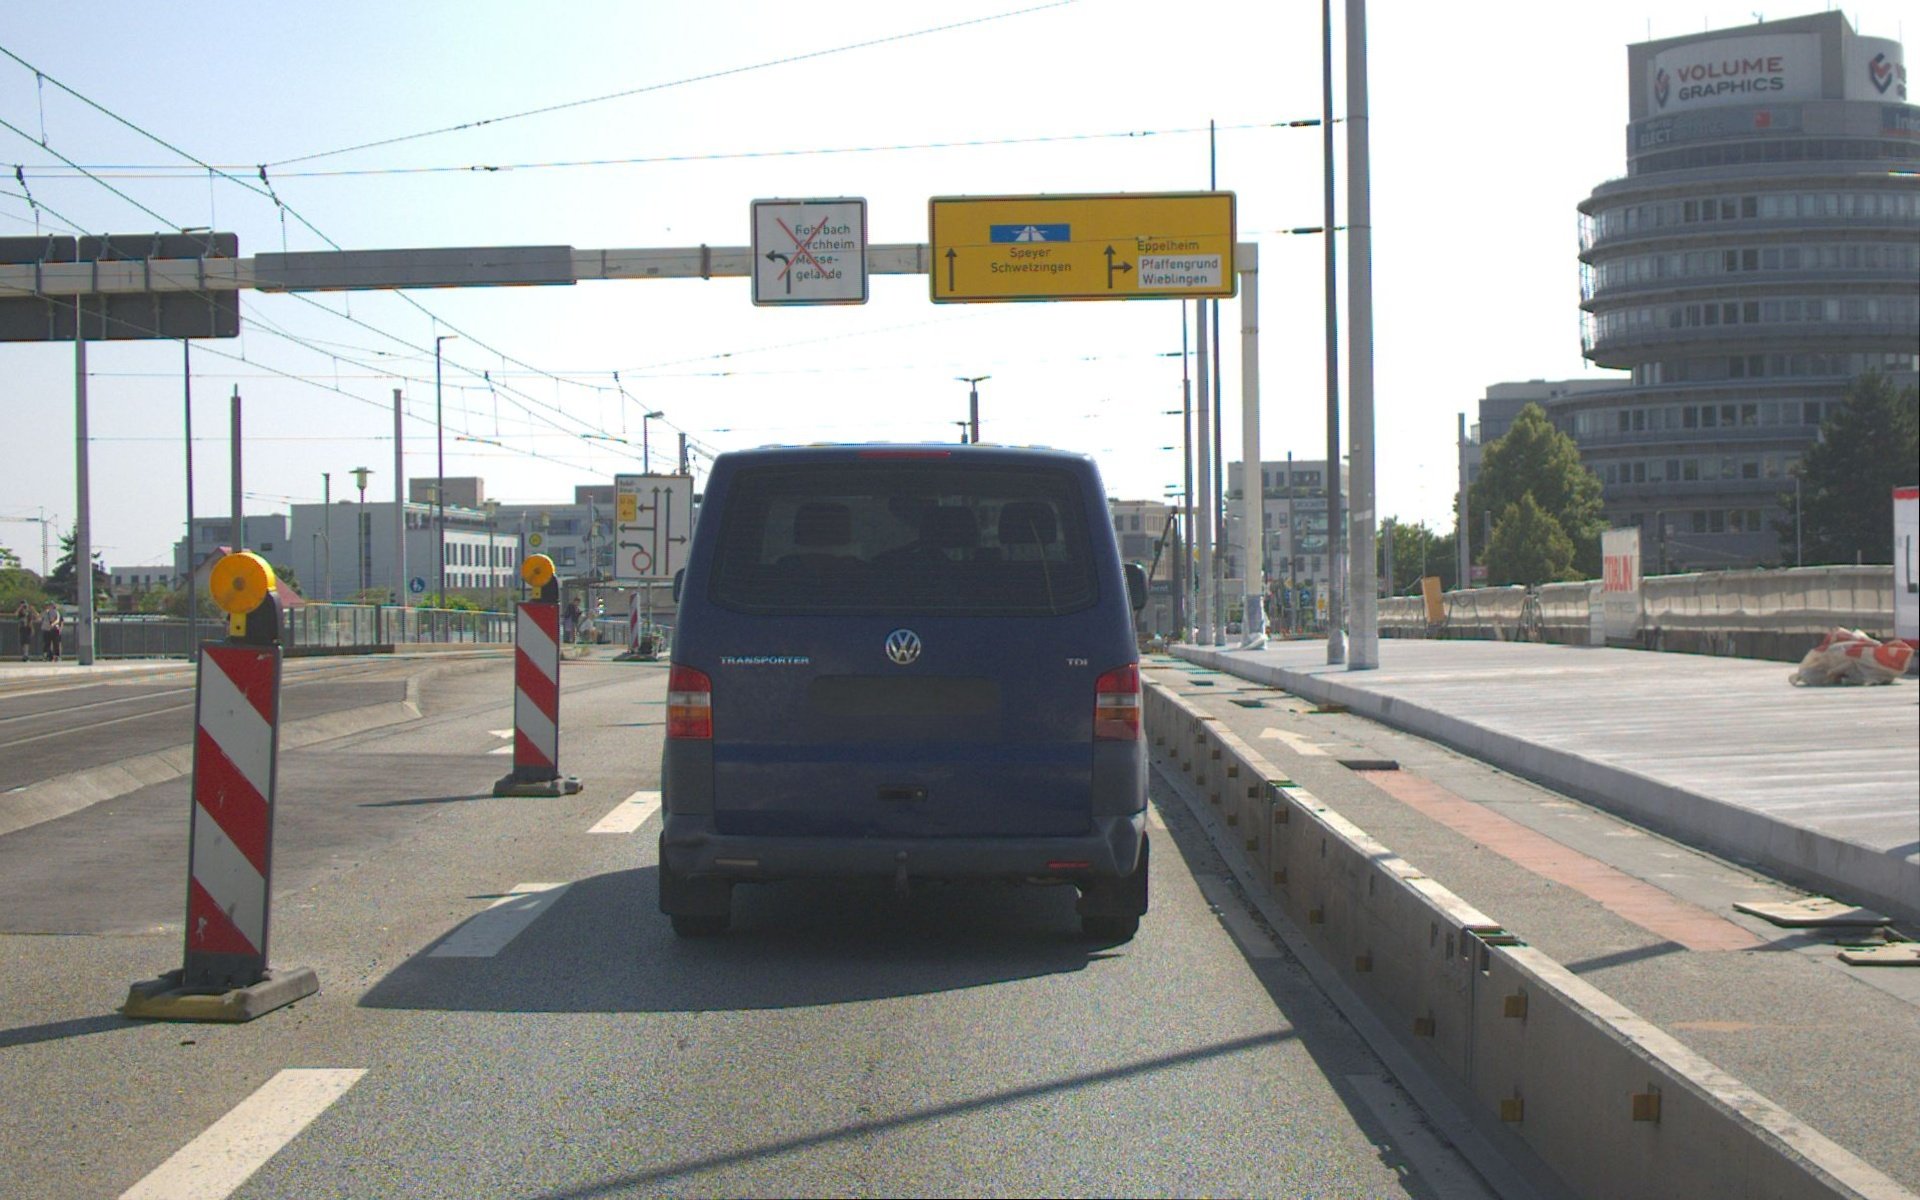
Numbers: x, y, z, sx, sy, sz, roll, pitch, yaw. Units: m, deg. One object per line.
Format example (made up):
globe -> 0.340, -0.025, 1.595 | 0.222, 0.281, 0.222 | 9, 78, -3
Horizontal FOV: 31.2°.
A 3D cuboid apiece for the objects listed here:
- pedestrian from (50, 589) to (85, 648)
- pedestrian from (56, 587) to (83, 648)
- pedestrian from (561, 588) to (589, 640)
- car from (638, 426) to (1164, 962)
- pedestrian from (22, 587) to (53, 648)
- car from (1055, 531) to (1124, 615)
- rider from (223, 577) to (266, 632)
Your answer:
pedestrian -> -25.438, 0.521, 98.043 | 0.753, 1.681, 0.731 | -1, 0, 3
pedestrian -> -24.683, 0.474, 95.322 | 0.486, 1.681, 0.808 | -1, 0, 3
pedestrian -> -12.475, 0.450, 111.495 | 0.660, 1.649, 0.739 | -1, 0, 14
car -> -0.226, 0.337, 14.532 | 1.888, 1.927, 4.000 | 1, 0, 0
pedestrian -> -25.509, 0.478, 95.076 | 0.597, 1.681, 0.817 | -1, 0, 3
car -> 4.587, -0.964, 122.480 | 2.339, 2.877, 5.970 | 1, 0, 1
rider -> -22.602, 0.135, 108.649 | 0.763, 1.727, 2.952 | 0, 0, -1
